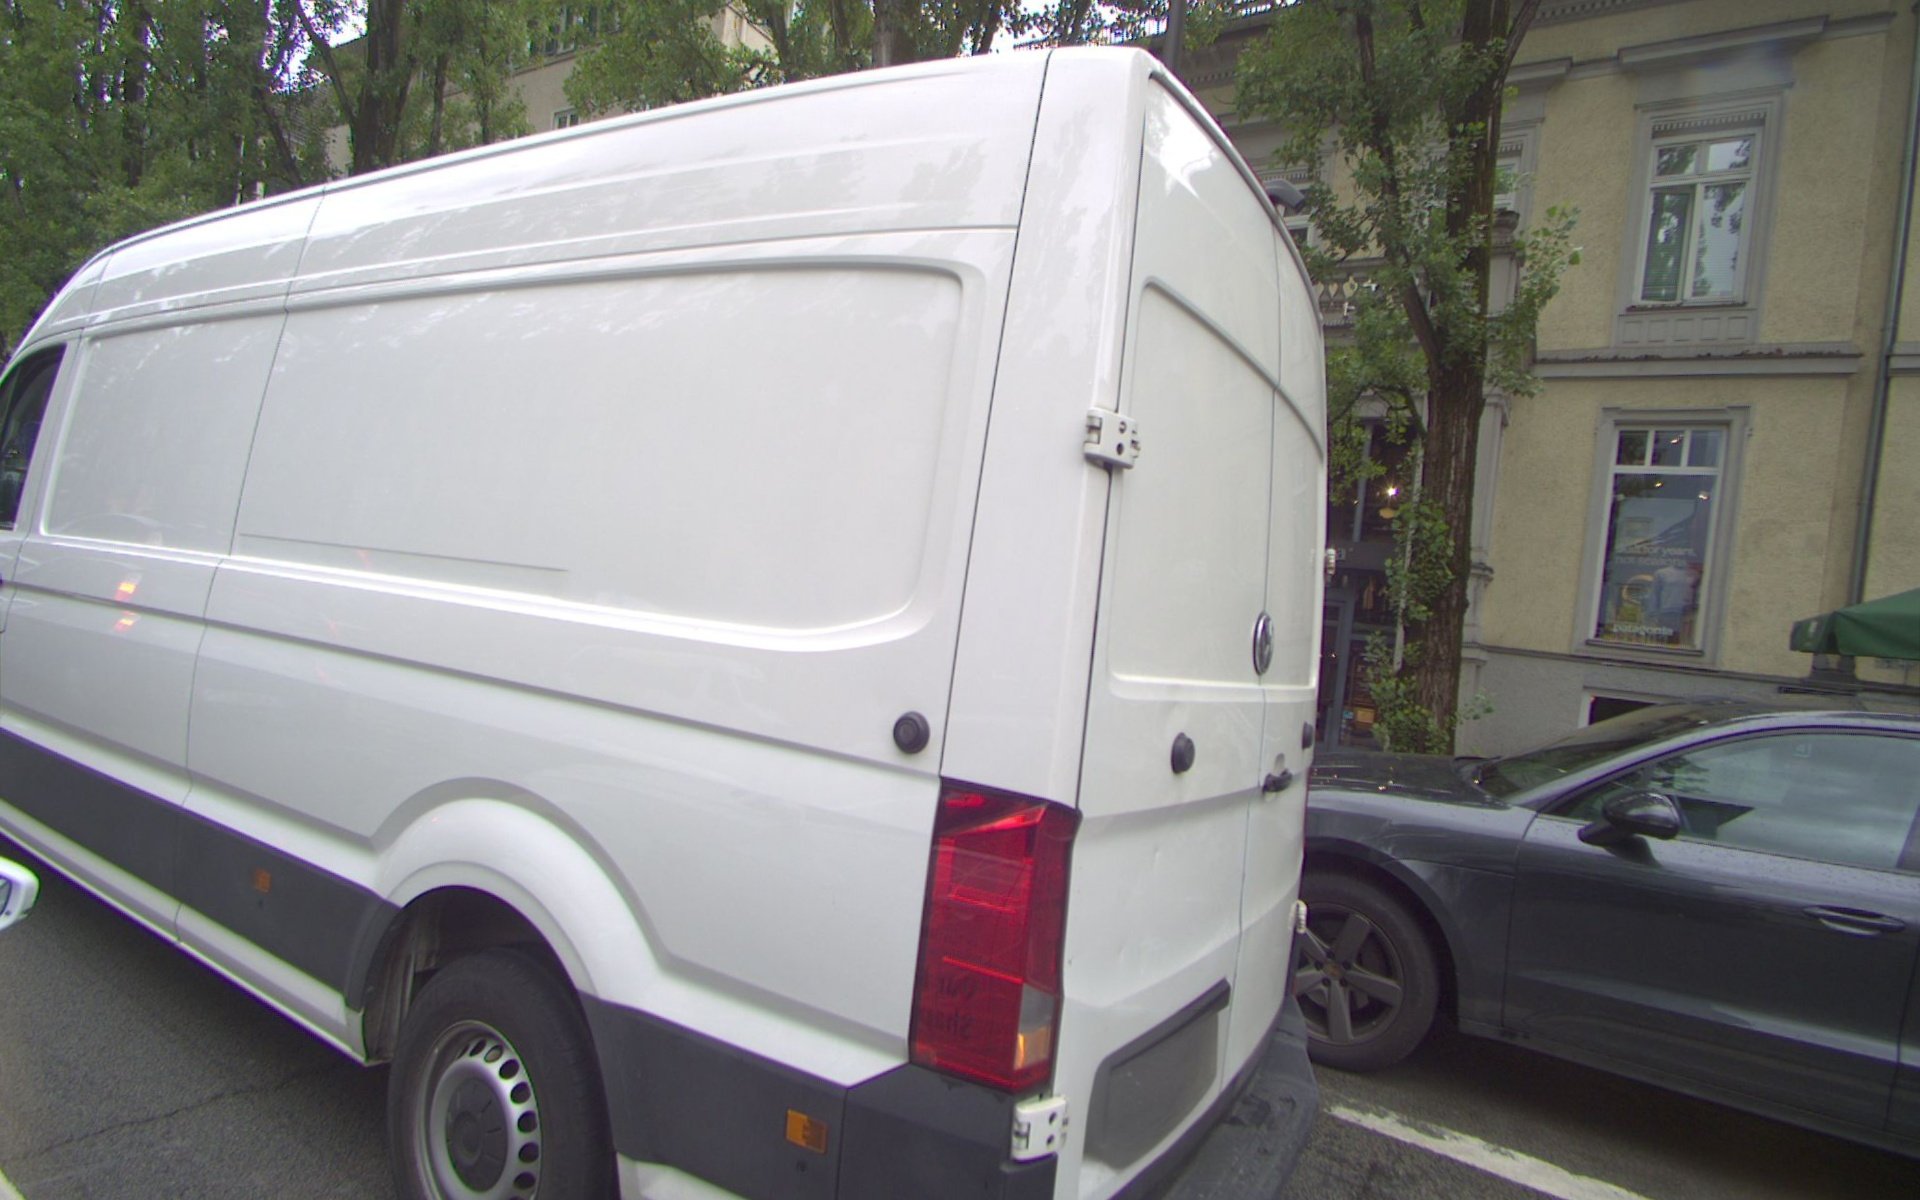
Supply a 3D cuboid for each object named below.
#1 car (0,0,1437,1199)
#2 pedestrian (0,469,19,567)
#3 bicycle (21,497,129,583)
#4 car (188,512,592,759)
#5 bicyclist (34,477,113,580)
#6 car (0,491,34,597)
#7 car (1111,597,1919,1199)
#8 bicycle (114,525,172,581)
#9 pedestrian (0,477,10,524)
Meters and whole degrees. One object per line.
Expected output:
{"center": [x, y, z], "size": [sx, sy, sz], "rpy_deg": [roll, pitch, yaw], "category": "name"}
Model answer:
{"center": [-2.094, 0.041, 3.783], "size": [6.619, 2.522, 2.066], "rpy_deg": [7, -1, 32], "category": "car"}
{"center": [-18.172, -1.573, 18.637], "size": [0.857, 1.795, 0.827], "rpy_deg": [7, 1, 37], "category": "pedestrian"}
{"center": [-16.692, -1.144, 18.954], "size": [2.408, 1.366, 0.773], "rpy_deg": [7, 1, 31], "category": "bicycle"}
{"center": [-4.668, 0.257, 8.246], "size": [2.683, 1.536, 1.596], "rpy_deg": [7, -1, 30], "category": "car"}
{"center": [-16.697, -1.340, 18.959], "size": [0.870, 1.788, 0.768], "rpy_deg": [7, 1, 31], "category": "bicyclist"}
{"center": [-15.604, -1.025, 15.116], "size": [3.465, 1.510, 1.543], "rpy_deg": [7, -1, 32], "category": "car"}
{"center": [3.043, 1.112, 3.866], "size": [4.372, 1.657, 1.807], "rpy_deg": [7, -1, 30], "category": "car"}
{"center": [-16.504, -0.951, 20.313], "size": [1.429, 1.009, 0.349], "rpy_deg": [6, 2, 28], "category": "bicycle"}
{"center": [-35.957, -3.721, 37.369], "size": [0.745, 1.707, 0.674], "rpy_deg": [6, 1, 27], "category": "pedestrian"}
